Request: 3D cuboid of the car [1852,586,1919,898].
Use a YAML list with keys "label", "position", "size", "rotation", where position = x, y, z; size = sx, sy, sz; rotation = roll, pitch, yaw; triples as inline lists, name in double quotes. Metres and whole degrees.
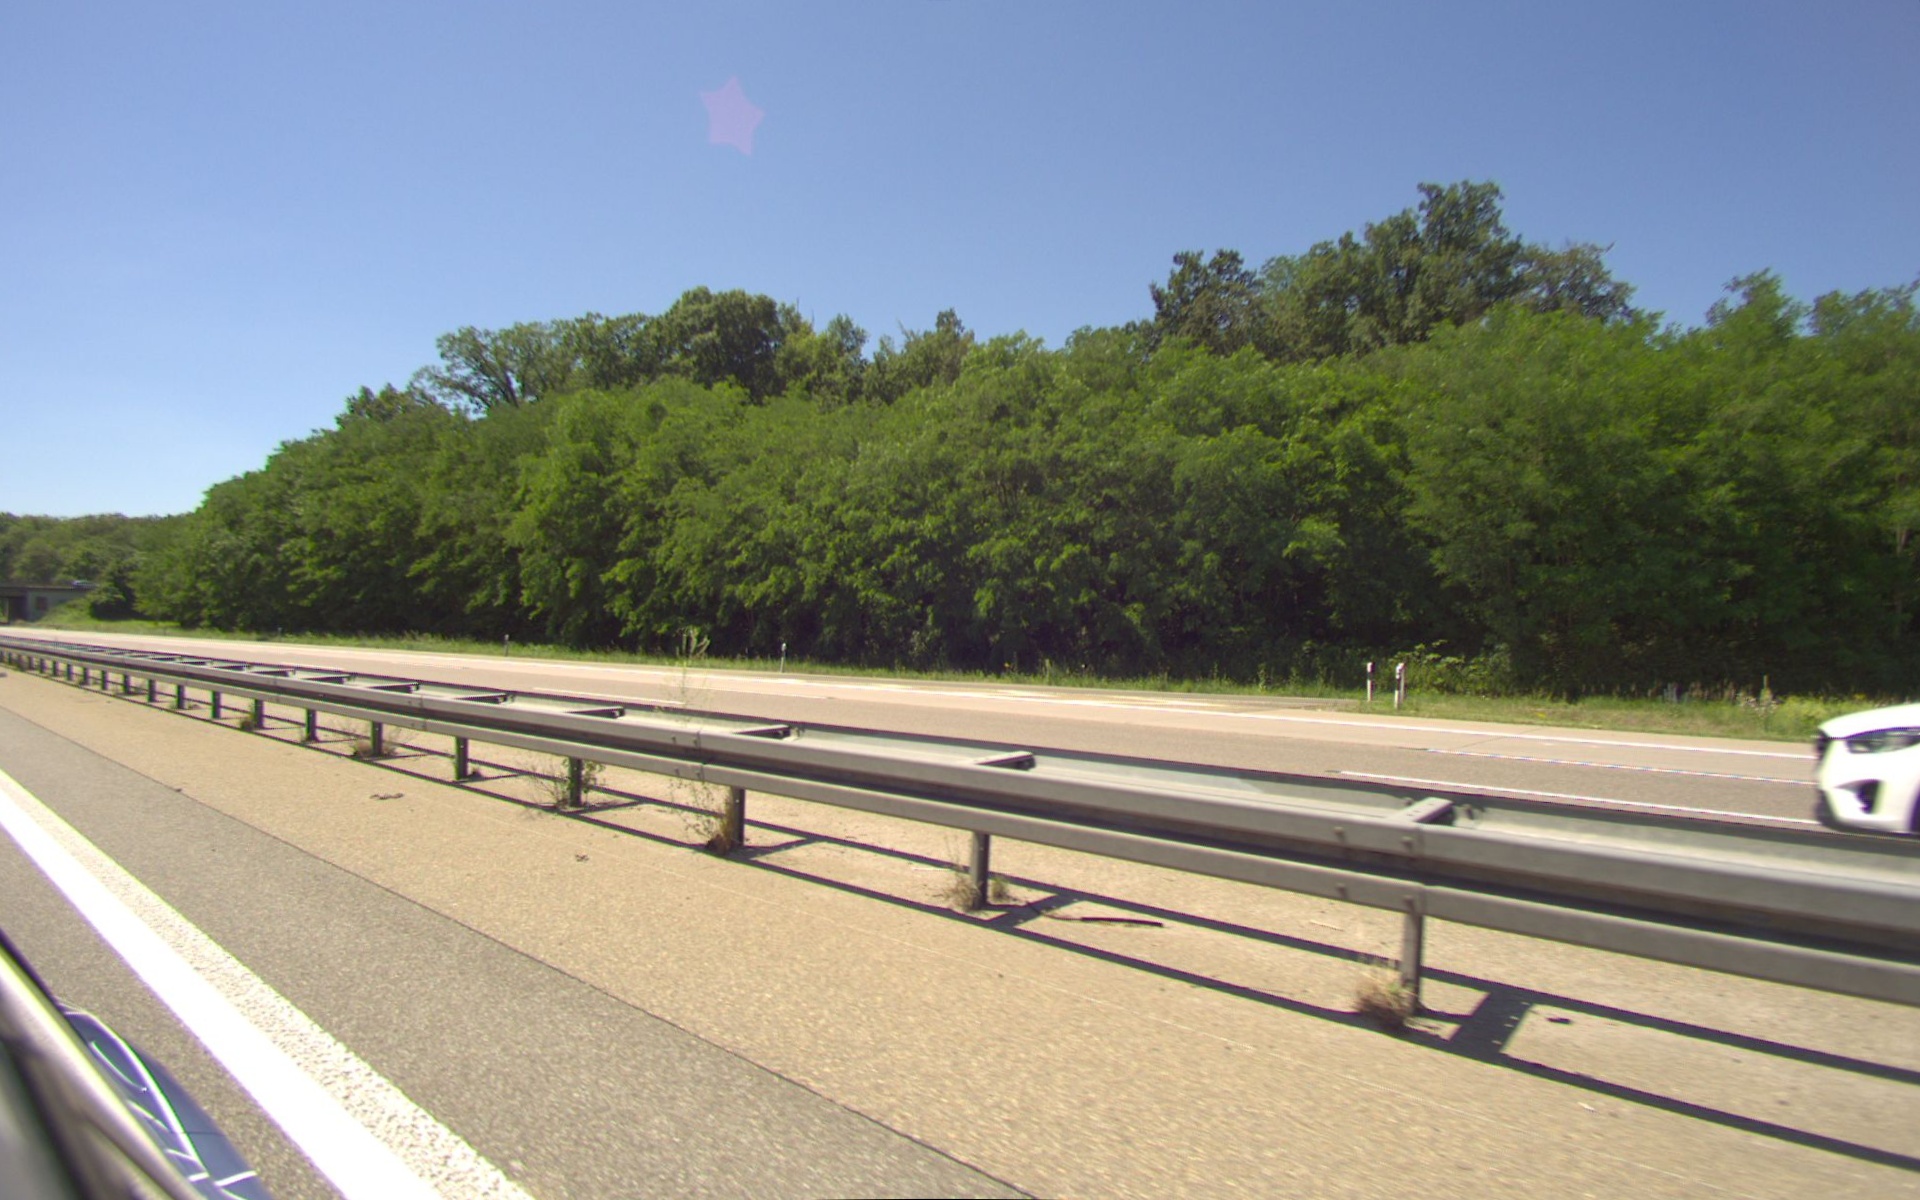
- label: "car"
  position: [7.453, 0.764, 4.769]
  size: [4.816, 1.705, 1.744]
  rotation: [-1, -2, 41]
